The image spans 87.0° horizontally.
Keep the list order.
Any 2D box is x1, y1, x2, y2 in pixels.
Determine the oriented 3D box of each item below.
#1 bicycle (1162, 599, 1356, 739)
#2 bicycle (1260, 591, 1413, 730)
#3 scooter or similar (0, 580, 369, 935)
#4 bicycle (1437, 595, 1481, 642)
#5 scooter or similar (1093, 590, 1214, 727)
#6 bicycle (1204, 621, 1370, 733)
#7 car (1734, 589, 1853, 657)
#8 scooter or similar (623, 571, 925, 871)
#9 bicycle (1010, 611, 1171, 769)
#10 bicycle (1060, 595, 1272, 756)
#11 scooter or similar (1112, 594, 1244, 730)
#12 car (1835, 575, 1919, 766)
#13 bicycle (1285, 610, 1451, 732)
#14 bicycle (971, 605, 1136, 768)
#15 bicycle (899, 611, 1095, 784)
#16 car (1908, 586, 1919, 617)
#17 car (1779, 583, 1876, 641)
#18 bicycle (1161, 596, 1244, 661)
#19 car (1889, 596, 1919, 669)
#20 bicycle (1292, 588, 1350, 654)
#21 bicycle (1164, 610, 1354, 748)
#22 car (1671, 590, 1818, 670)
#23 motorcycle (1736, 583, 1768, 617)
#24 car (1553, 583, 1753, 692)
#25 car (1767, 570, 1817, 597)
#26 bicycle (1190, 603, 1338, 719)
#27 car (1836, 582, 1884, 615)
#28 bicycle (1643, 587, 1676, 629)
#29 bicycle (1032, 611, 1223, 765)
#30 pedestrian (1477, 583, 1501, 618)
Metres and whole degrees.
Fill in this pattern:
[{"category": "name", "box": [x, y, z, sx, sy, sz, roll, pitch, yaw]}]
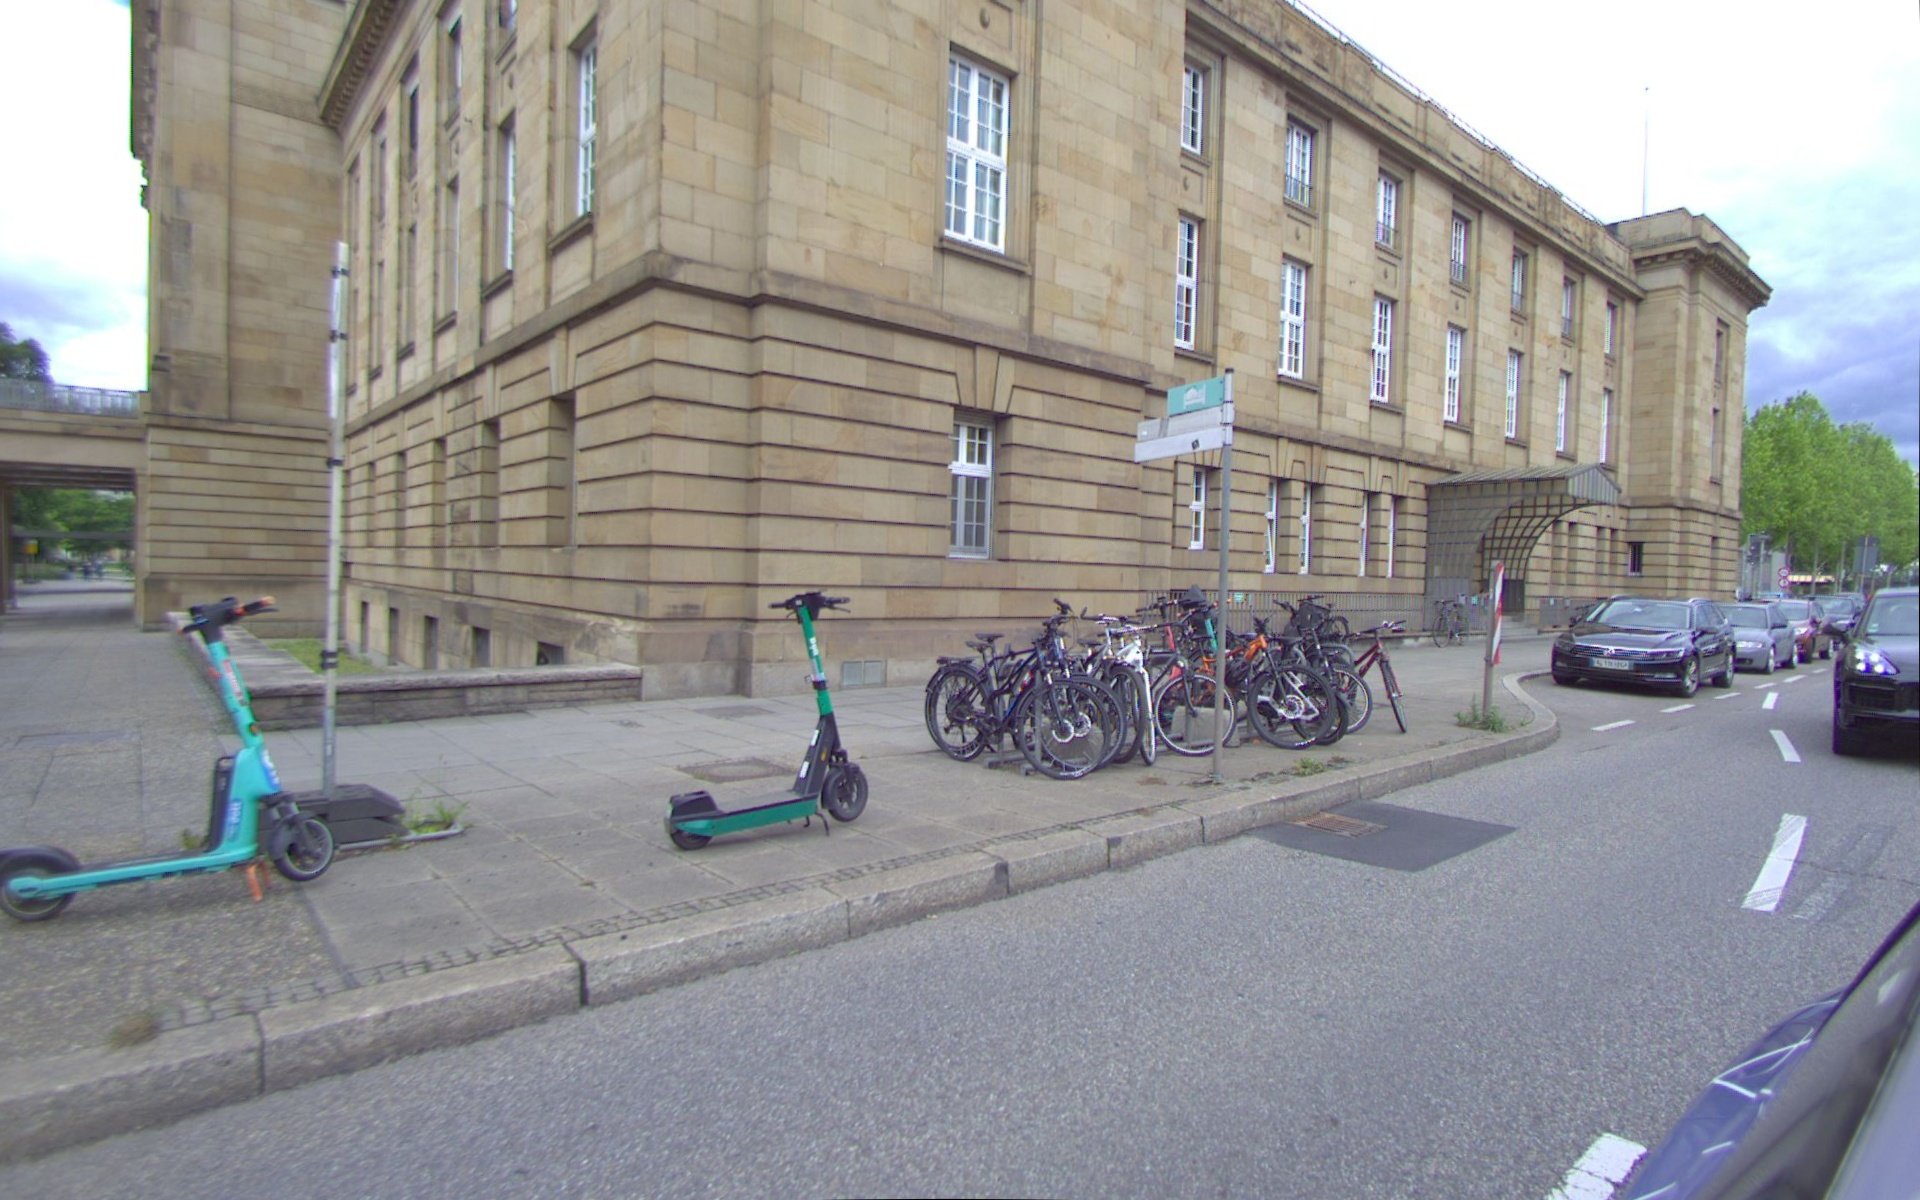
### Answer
[{"category": "bicycle", "box": [2.602, 0.569, 8.853, 1.597, 1.144, 0.405, 0, 0, 24]}, {"category": "bicycle", "box": [3.709, 0.545, 10.102, 0.532, 1.272, 1.550, 0, 0, -21]}, {"category": "scooter or similar", "box": [-3.216, 0.569, 4.101, 1.405, 1.296, 0.433, 0, 0, -29]}, {"category": "bicycle", "box": [11.459, 0.408, 23.221, 1.827, 1.042, 0.222, 0, 0, -41]}, {"category": "scooter or similar", "box": [1.949, 0.553, 10.175, 1.126, 1.294, 0.564, 0, 0, -35]}, {"category": "bicycle", "box": [3.208, 0.719, 10.101, 0.601, 0.928, 1.738, 0, 2, -21]}, {"category": "car", "box": [20.413, 0.500, 24.754, 3.791, 1.473, 1.619, 0, 3, -41]}, {"category": "scooter or similar", "box": [-0.945, 0.535, 5.294, 1.389, 1.348, 0.726, 0, 0, -41]}, {"category": "bicycle", "box": [0.999, 0.659, 8.170, 0.373, 1.105, 1.736, 0, 0, -27]}, {"category": "bicycle", "box": [1.709, 0.574, 8.625, 0.594, 1.224, 1.759, 0, 0, -43]}, {"category": "scooter or similar", "box": [2.119, 0.567, 9.796, 1.286, 1.239, 0.427, -1, 0, -30]}, {"category": "car", "box": [10.143, 0.606, 10.025, 4.132, 1.678, 1.904, -1, 1, -44]}, {"category": "bicycle", "box": [4.084, 0.666, 10.262, 0.573, 1.087, 1.672, 0, 1, -21]}, {"category": "bicycle", "box": [0.674, 0.605, 7.885, 0.417, 1.105, 1.736, 0, 0, -27]}, {"category": "bicycle", "box": [0.215, 0.655, 7.666, 0.652, 1.105, 1.866, 0, 0, -27]}, {"category": "car", "box": [65.012, 0.105, 67.705, 3.933, 2.038, 1.996, 0, 2, -43]}, {"category": "car", "box": [25.993, 0.332, 30.290, 3.642, 1.571, 1.549, 0, 2, -39]}, {"category": "bicycle", "box": [4.007, 0.442, 16.602, 1.929, 1.010, 0.240, -1, 2, -41]}, {"category": "car", "box": [20.553, 0.690, 20.816, 1.931, 1.393, 3.935, 5, 3, 44]}, {"category": "bicycle", "box": [6.778, 0.367, 18.986, 1.510, 1.197, 0.276, -1, 0, -39]}, {"category": "bicycle", "box": [2.690, 0.679, 9.138, 1.597, 1.144, 0.466, 0, 0, 24]}, {"category": "car", "box": [16.462, 0.541, 21.170, 3.928, 1.443, 1.711, -1, 3, -42]}, {"category": "motorcycle", "box": [30.188, 0.001, 38.584, 1.887, 1.257, 0.456, 0, 3, -38]}, {"category": "car", "box": [11.305, 0.500, 16.387, 4.253, 1.504, 1.790, -1, 2, -43]}, {"category": "car", "box": [47.563, -0.945, 57.853, 3.441, 1.549, 1.583, 0, 1, -40]}, {"category": "bicycle", "box": [2.988, 0.564, 10.088, 0.427, 1.041, 1.570, 0, 0, -29]}, {"category": "car", "box": [49.231, -0.072, 55.346, 1.805, 1.760, 4.414, 1, 0, 44]}, {"category": "bicycle", "box": [22.367, 0.231, 32.342, 1.759, 1.304, 0.413, 0, 2, -41]}, {"category": "bicycle", "box": [1.331, 0.663, 8.377, 0.563, 1.105, 1.735, 0, 0, -31]}, {"category": "pedestrian", "box": [13.391, 0.014, 25.604, 0.366, 0.884, 0.430, -1, 0, -39]}]
